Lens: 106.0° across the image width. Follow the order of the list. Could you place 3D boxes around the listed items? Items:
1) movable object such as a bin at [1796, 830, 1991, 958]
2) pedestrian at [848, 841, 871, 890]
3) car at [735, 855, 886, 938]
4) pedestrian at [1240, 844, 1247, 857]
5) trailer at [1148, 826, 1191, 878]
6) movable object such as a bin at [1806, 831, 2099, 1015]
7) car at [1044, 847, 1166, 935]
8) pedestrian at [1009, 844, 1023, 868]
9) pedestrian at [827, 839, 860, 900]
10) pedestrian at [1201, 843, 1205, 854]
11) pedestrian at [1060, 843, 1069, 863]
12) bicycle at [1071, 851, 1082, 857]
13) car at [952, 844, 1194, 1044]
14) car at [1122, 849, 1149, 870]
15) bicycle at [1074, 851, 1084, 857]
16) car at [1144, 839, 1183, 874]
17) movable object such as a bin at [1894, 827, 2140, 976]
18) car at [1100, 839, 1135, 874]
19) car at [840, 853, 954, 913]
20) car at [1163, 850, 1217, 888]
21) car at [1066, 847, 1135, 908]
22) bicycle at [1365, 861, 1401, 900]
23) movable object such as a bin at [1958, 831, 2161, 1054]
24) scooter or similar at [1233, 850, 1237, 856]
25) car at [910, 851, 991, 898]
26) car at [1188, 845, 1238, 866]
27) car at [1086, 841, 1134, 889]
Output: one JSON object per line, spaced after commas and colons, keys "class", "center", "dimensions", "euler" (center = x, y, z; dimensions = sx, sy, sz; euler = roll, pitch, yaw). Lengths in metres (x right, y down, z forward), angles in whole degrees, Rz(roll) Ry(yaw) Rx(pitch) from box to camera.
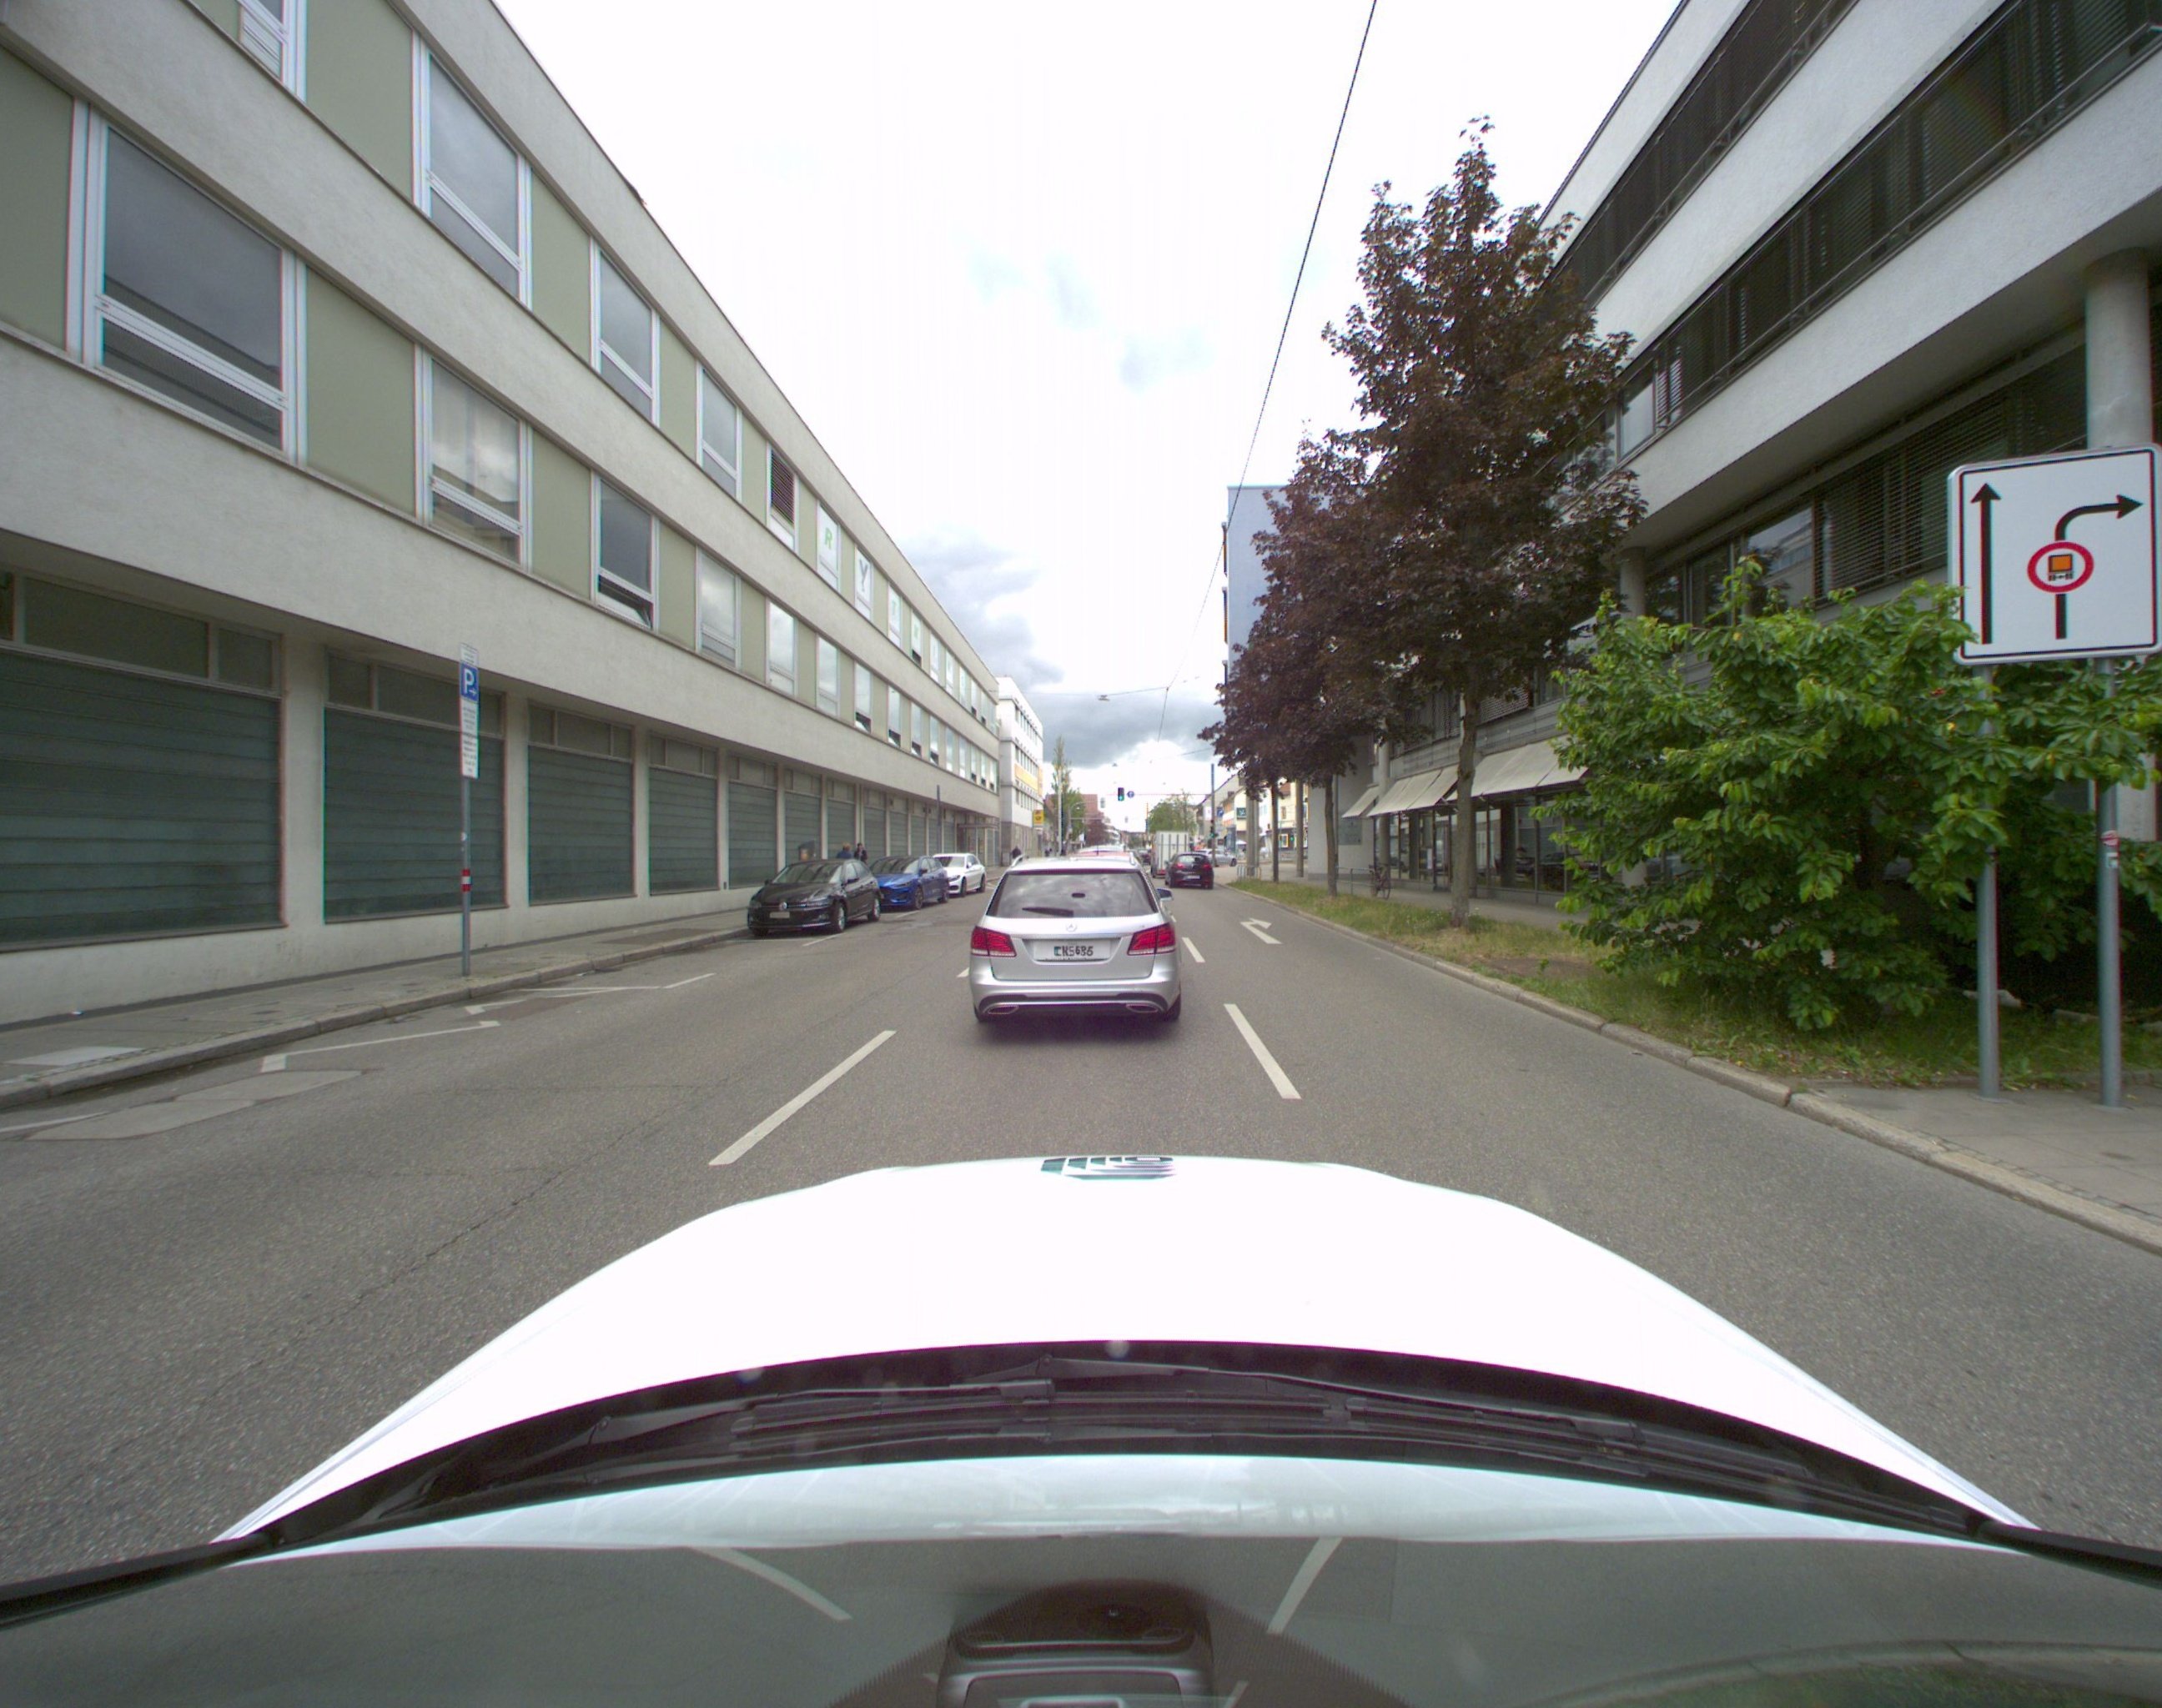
{"class": "movable object such as a bin", "center": [10.130, 0.472, 10.238], "dimensions": [1.094, 1.465, 1.333], "euler": [-2, 0, 1]}
{"class": "pedestrian", "center": [-7.862, 0.393, 28.923], "dimensions": [0.587, 1.718, 0.650], "euler": [-1, 0, 1]}
{"class": "car", "center": [-5.436, 0.791, 16.909], "dimensions": [1.710, 1.425, 3.871], "euler": [-2, 0, 1]}
{"class": "pedestrian", "center": [20.485, -0.431, 102.884], "dimensions": [0.641, 1.718, 0.709], "euler": [-1, 0, 35]}
{"class": "trailer", "center": [4.708, -0.133, 43.741], "dimensions": [1.871, 2.613, 4.324], "euler": [2, 0, 1]}
{"class": "movable object such as a bin", "center": [7.770, 0.562, 7.382], "dimensions": [1.123, 1.465, 1.413], "euler": [-2, 0, 1]}
{"class": "car", "center": [0.605, 0.629, 16.071], "dimensions": [1.723, 1.508, 4.013], "euler": [0, 0, 11]}
{"class": "pedestrian", "center": [-4.732, 0.112, 59.519], "dimensions": [0.858, 1.718, 1.032], "euler": [1, 0, 1]}
{"class": "pedestrian", "center": [-6.943, 0.441, 23.834], "dimensions": [0.587, 1.718, 1.055], "euler": [-1, 0, 1]}
{"class": "pedestrian", "center": [19.605, -0.872, 130.810], "dimensions": [0.576, 1.666, 0.650], "euler": [1, 0, -2]}
{"class": "pedestrian", "center": [-1.449, -0.099, 70.504], "dimensions": [0.643, 1.718, 0.785], "euler": [1, 0, 10]}
{"class": "bicycle", "center": [-0.894, -0.015, 149.858], "dimensions": [1.935, 1.029, 0.529], "euler": [1, 0, -7]}
{"class": "car", "center": [-0.009, 0.676, 8.333], "dimensions": [1.839, 1.508, 4.172], "euler": [-1, 0, 1]}
{"class": "car", "center": [3.931, 0.403, 59.371], "dimensions": [1.728, 1.410, 4.001], "euler": [-1, 1, 1]}
{"class": "bicycle", "center": [-0.350, -0.029, 153.824], "dimensions": [1.935, 1.029, 0.529], "euler": [1, 0, -7]}
{"class": "car", "center": [4.826, 0.117, 48.334], "dimensions": [1.871, 1.945, 4.908], "euler": [2, 0, 1]}
{"class": "movable object such as a bin", "center": [10.097, 0.474, 8.877], "dimensions": [1.118, 1.465, 1.333], "euler": [-2, 0, 1]}
{"class": "car", "center": [1.946, 0.100, 43.948], "dimensions": [1.821, 1.785, 4.002], "euler": [-1, 0, 2]}
{"class": "car", "center": [-4.975, 0.735, 22.688], "dimensions": [1.806, 1.425, 4.270], "euler": [-2, 0, 5]}
{"class": "car", "center": [4.360, 0.554, 33.008], "dimensions": [1.728, 1.410, 4.001], "euler": [-1, 1, 1]}
{"class": "car", "center": [0.546, 0.581, 22.623], "dimensions": [1.728, 1.508, 4.001], "euler": [-1, 0, 1]}
{"class": "bicycle", "center": [8.938, 0.768, 24.156], "dimensions": [0.359, 1.086, 2.028], "euler": [1, 0, 1]}
{"class": "movable object such as a bin", "center": [7.753, 0.580, 6.009], "dimensions": [1.094, 1.465, 1.333], "euler": [-2, 0, 1]}
{"class": "scooter or similar", "center": [22.703, -0.152, 120.005], "dimensions": [0.270, 1.001, 1.029], "euler": [-1, 0, 0]}
{"class": "car", "center": [-4.470, 0.665, 28.590], "dimensions": [1.662, 1.433, 4.559], "euler": [-2, 0, 5]}
{"class": "car", "center": [10.704, 0.157, 65.692], "dimensions": [1.718, 1.605, 4.587], "euler": [2, 1, 43]}
{"class": "car", "center": [1.113, 0.387, 31.843], "dimensions": [1.728, 1.759, 4.001], "euler": [-1, 0, 1]}
